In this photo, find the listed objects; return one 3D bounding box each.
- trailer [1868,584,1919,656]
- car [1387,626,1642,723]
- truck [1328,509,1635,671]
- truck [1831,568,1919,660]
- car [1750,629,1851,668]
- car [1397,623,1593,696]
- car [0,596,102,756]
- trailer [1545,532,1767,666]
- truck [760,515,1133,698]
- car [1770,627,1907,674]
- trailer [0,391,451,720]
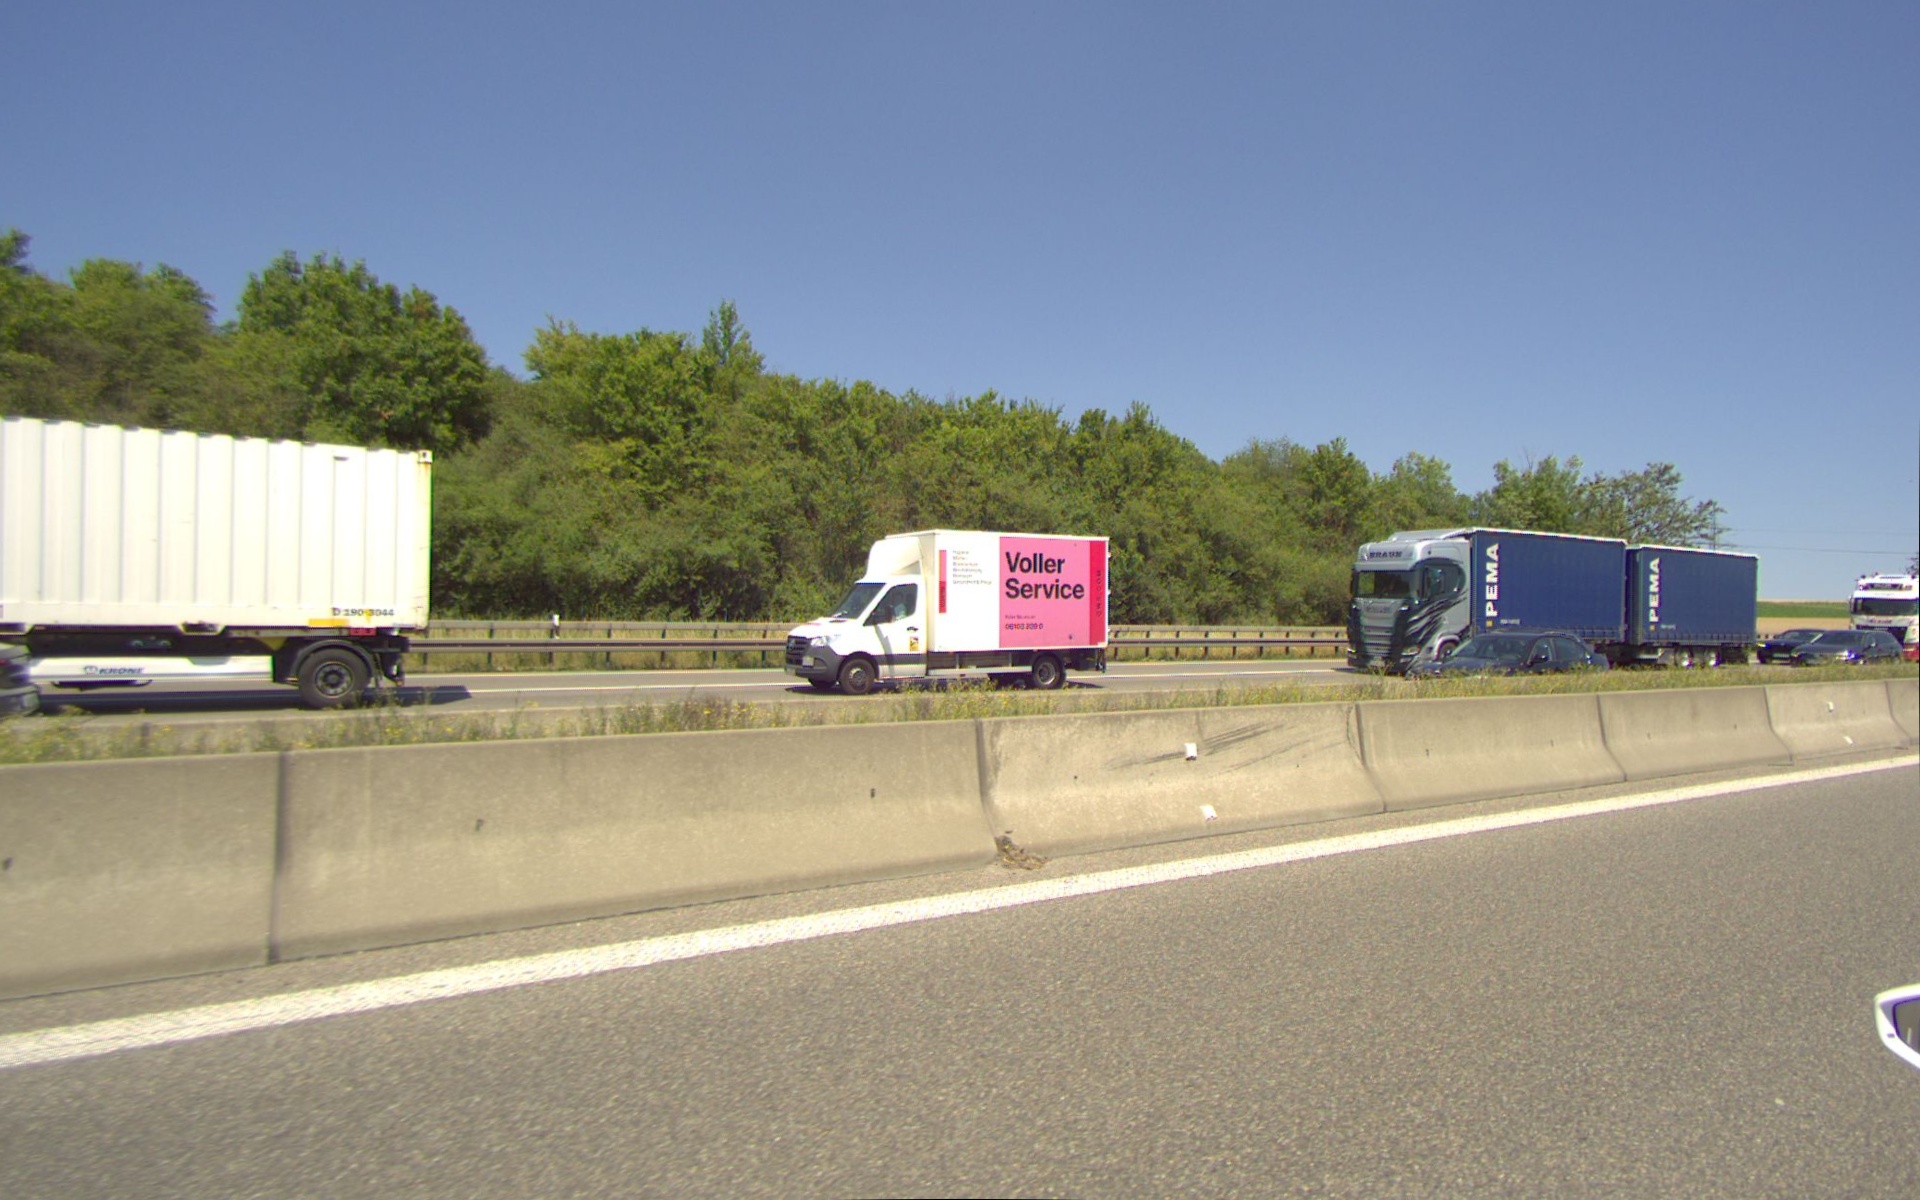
[{"bbox_3d":[48.888,1.011,49.048,12.628,3.249,2.845,1,0,-29],"label":"trailer"},{"bbox_3d":[10.268,1.295,18.519,4.716,1.547,1.984,1,0,-30],"label":"car"},{"bbox_3d":[16.005,-0.163,30.419,10.604,4.290,2.988,1,-1,-30],"label":"truck"},{"bbox_3d":[42.718,0.629,45.590,6.103,3.928,2.888,1,0,-29],"label":"truck"},{"bbox_3d":[33.585,1.931,40.105,4.593,1.450,1.648,1,-1,-30],"label":"car"},{"bbox_3d":[12.870,1.373,24.108,4.716,1.547,1.984,1,0,-30],"label":"car"},{"bbox_3d":[-11.907,0.695,9.519,5.432,1.565,1.983,2,-1,-31],"label":"car"},{"bbox_3d":[24.473,0.044,35.204,8.490,4.248,2.973,1,-1,-29],"label":"trailer"},{"bbox_3d":[-0.116,0.191,20.889,7.501,3.250,2.526,1,0,-31],"label":"truck"},{"bbox_3d":[29.903,1.689,34.151,5.109,1.474,1.984,1,-1,-30],"label":"car"},{"bbox_3d":[-11.939,-0.513,14.376,8.132,4.125,2.907,1,-2,-30],"label":"trailer"}]
